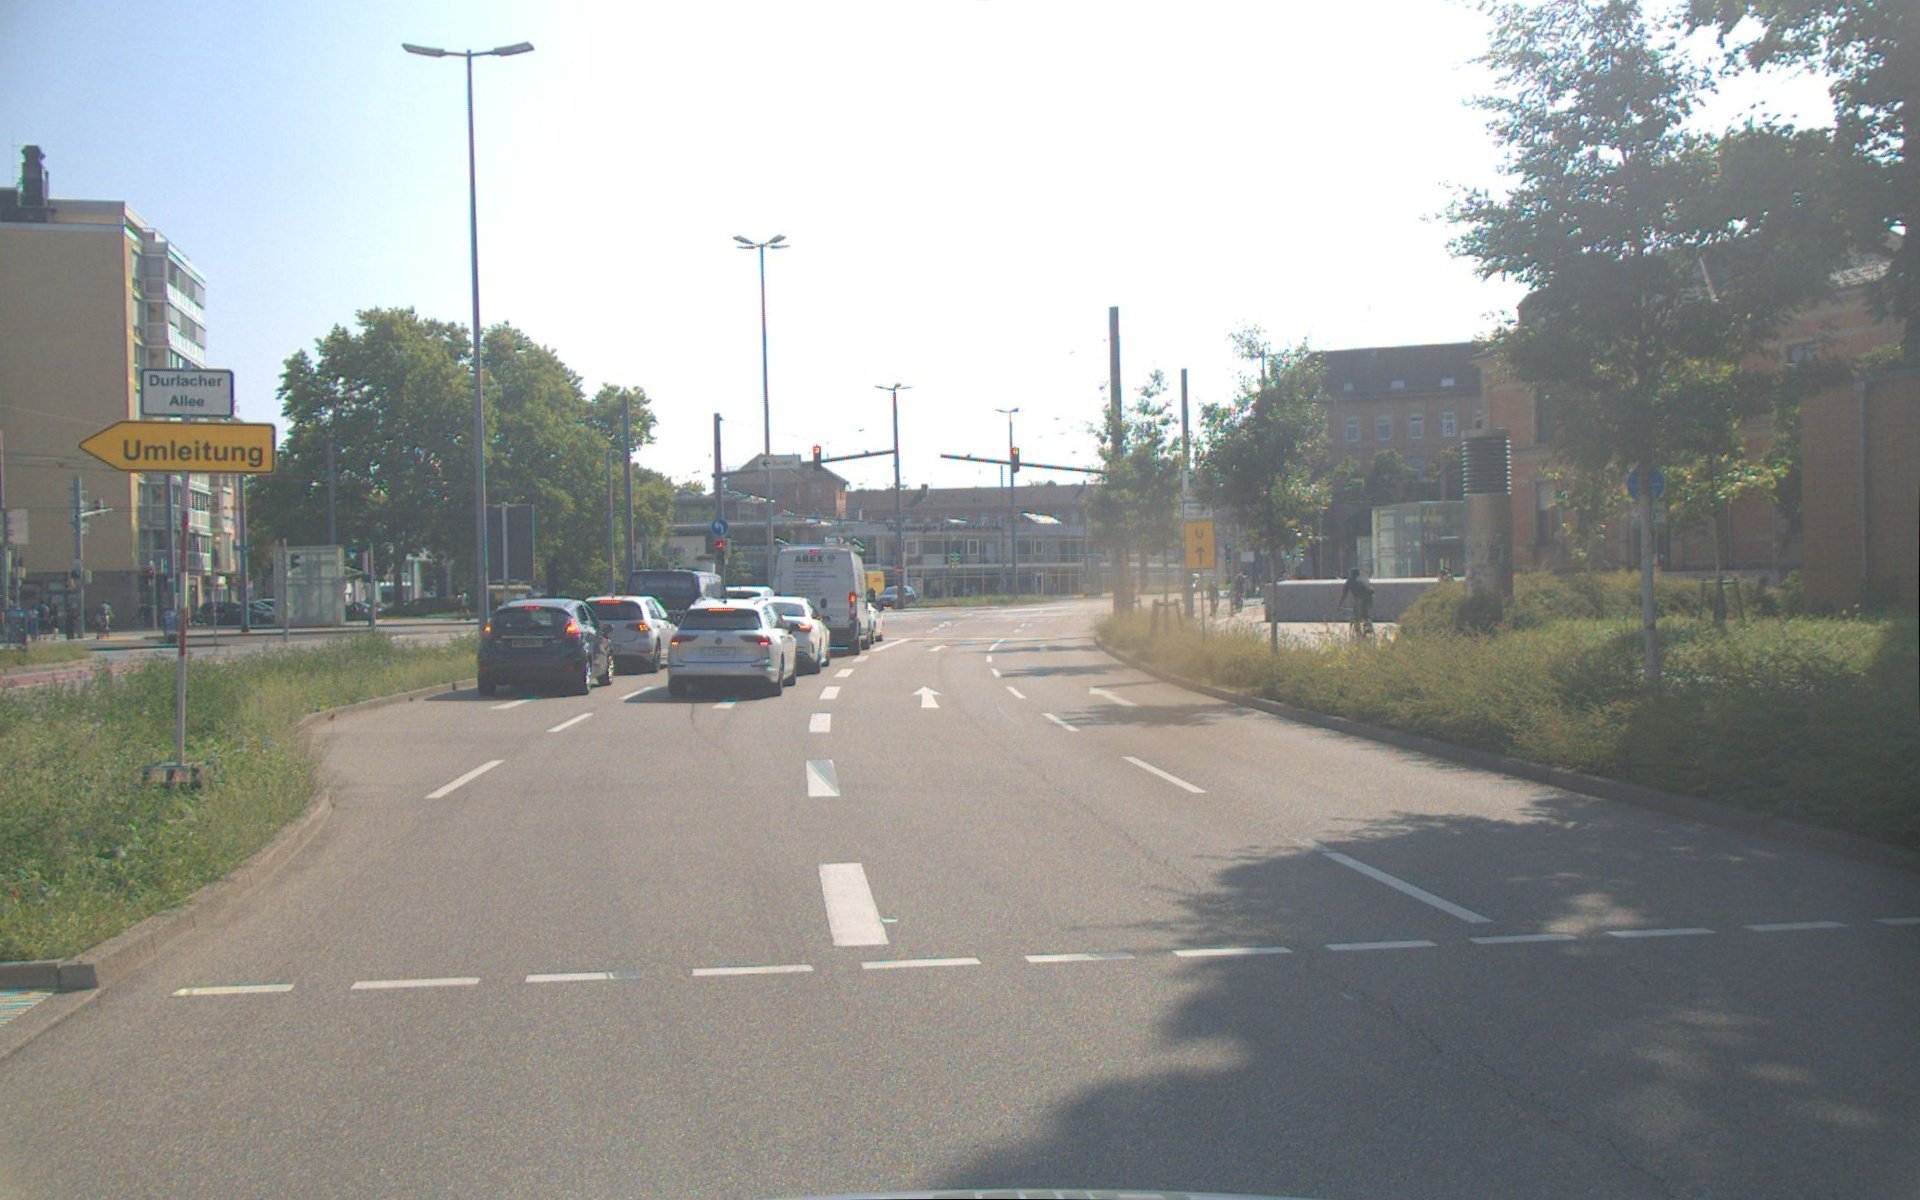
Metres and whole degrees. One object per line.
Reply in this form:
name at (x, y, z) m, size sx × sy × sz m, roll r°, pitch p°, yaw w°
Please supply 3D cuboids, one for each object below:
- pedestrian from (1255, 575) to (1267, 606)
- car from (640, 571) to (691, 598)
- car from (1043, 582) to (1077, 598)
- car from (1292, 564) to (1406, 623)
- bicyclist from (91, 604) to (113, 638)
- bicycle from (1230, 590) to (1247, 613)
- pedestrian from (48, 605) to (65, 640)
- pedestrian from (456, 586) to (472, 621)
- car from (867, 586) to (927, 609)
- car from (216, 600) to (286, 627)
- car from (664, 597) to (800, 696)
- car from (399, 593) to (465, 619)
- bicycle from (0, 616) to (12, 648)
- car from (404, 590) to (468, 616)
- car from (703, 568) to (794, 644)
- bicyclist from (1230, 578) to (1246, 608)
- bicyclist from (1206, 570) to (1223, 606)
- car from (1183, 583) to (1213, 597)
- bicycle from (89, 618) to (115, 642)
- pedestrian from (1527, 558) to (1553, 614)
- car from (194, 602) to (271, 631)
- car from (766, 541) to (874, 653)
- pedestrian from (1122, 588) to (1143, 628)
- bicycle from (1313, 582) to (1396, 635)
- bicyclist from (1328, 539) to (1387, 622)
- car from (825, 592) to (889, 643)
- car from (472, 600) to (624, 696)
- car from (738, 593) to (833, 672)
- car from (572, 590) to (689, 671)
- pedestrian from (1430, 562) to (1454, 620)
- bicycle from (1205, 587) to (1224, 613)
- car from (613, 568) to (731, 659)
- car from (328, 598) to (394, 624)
pedestrian at (20.227, -0.664, 111.060) m, size 0.730 × 2.049 × 0.807 m, roll -1°, pitch 0°, yaw 12°
car at (-24.264, -1.304, 136.297) m, size 3.908 × 2.048 × 1.999 m, roll -1°, pitch 3°, yaw -4°
car at (9.379, -0.933, 154.163) m, size 1.953 × 1.467 × 4.000 m, roll -1°, pitch 1°, yaw 22°
car at (14.707, -0.255, 62.485) m, size 3.929 × 2.048 × 1.744 m, roll -2°, pitch 3°, yaw -21°
bicyclist at (-37.816, 0.927, 72.889) m, size 0.714 × 1.459 × 0.686 m, roll -1°, pitch 0°, yaw -18°
bicycle at (13.445, 0.049, 79.882) m, size 0.691 × 1.080 × 1.984 m, roll -1°, pitch 0°, yaw 12°
pedestrian at (-40.000, 0.990, 73.233) m, size 0.432 × 1.513 × 0.497 m, roll 1°, pitch 3°, yaw 37°
pedestrian at (-29.443, 0.209, 98.154) m, size 0.807 × 2.049 × 0.508 m, roll -1°, pitch 0°, yaw -12°
car at (-4.196, -0.181, 109.792) m, size 3.890 × 1.365 × 1.927 m, roll -2°, pitch 0°, yaw -7°
car at (-45.816, 0.853, 106.954) m, size 3.921 × 1.585 × 1.861 m, roll -2°, pitch 0°, yaw -15°
car at (-3.490, 0.679, 25.898) m, size 1.650 × 1.412 × 3.633 m, roll -1°, pitch 0°, yaw -1°
car at (-35.253, 0.388, 110.486) m, size 3.915 × 1.646 × 1.809 m, roll -2°, pitch 0°, yaw -11°
bicycle at (-50.719, 1.681, 84.326) m, size 3.923 × 1.578 × 1.191 m, roll -2°, pitch 3°, yaw -16°
car at (-35.775, 0.201, 112.948) m, size 3.915 × 1.646 × 1.809 m, roll -2°, pitch 0°, yaw -11°
car at (-6.045, 0.154, 47.765) m, size 1.982 × 2.043 × 4.683 m, roll -1°, pitch 0°, yaw 0°
bicyclist at (13.432, -0.328, 79.869) m, size 0.691 × 1.418 × 0.830 m, roll -1°, pitch 0°, yaw 12°
bicyclist at (11.282, -0.530, 73.311) m, size 0.697 × 1.556 × 0.807 m, roll -1°, pitch 0°, yaw 12°
car at (25.359, -1.068, 176.174) m, size 1.956 × 1.467 × 3.994 m, roll -1°, pitch 1°, yaw 29°
bicycle at (-37.804, 1.306, 72.864) m, size 0.716 × 1.001 × 1.723 m, roll -1°, pitch 0°, yaw -18°
pedestrian at (17.400, -0.422, 49.595) m, size 0.601 × 1.657 × 0.534 m, roll -1°, pitch 0°, yaw 8°
car at (-43.957, 0.994, 99.986) m, size 3.919 × 1.584 × 1.863 m, roll -1°, pitch 3°, yaw -14°
car at (-3.413, -0.064, 41.178) m, size 2.143 × 2.594 × 4.684 m, roll -1°, pitch 0°, yaw 1°
pedestrian at (5.982, 0.278, 57.362) m, size 0.623 × 1.385 × 0.633 m, roll -1°, pitch 0°, yaw -5°
bicycle at (7.824, 0.157, 32.933) m, size 0.758 × 0.993 × 2.143 m, roll -1°, pitch 0°, yaw -12°
bicyclist at (7.852, -0.386, 32.729) m, size 0.758 × 1.606 × 0.987 m, roll -1°, pitch 0°, yaw -12°
car at (-3.020, 0.499, 49.043) m, size 1.603 × 1.428 × 3.687 m, roll -1°, pitch 0°, yaw 1°
car at (-6.491, 0.709, 26.426) m, size 1.668 × 1.392 × 3.960 m, roll -1°, pitch 0°, yaw -4°
car at (-3.361, 0.609, 32.387) m, size 1.458 × 1.427 × 3.941 m, roll -1°, pitch 0°, yaw -1°
car at (-6.426, 0.564, 32.594) m, size 1.458 × 1.439 × 3.649 m, roll -1°, pitch 1°, yaw 1°
pedestrian at (13.939, -0.259, 47.780) m, size 0.601 × 1.667 × 0.534 m, roll -1°, pitch 0°, yaw 19°
bicycle at (11.296, -0.014, 73.315) m, size 0.691 × 1.080 × 1.984 m, roll -1°, pitch 0°, yaw 12°
car at (-6.852, 0.295, 39.837) m, size 1.982 × 2.043 × 4.683 m, roll -1°, pitch 0°, yaw 0°
car at (-39.738, 0.710, 109.853) m, size 3.921 × 1.585 × 1.721 m, roll -1°, pitch 0°, yaw -15°
